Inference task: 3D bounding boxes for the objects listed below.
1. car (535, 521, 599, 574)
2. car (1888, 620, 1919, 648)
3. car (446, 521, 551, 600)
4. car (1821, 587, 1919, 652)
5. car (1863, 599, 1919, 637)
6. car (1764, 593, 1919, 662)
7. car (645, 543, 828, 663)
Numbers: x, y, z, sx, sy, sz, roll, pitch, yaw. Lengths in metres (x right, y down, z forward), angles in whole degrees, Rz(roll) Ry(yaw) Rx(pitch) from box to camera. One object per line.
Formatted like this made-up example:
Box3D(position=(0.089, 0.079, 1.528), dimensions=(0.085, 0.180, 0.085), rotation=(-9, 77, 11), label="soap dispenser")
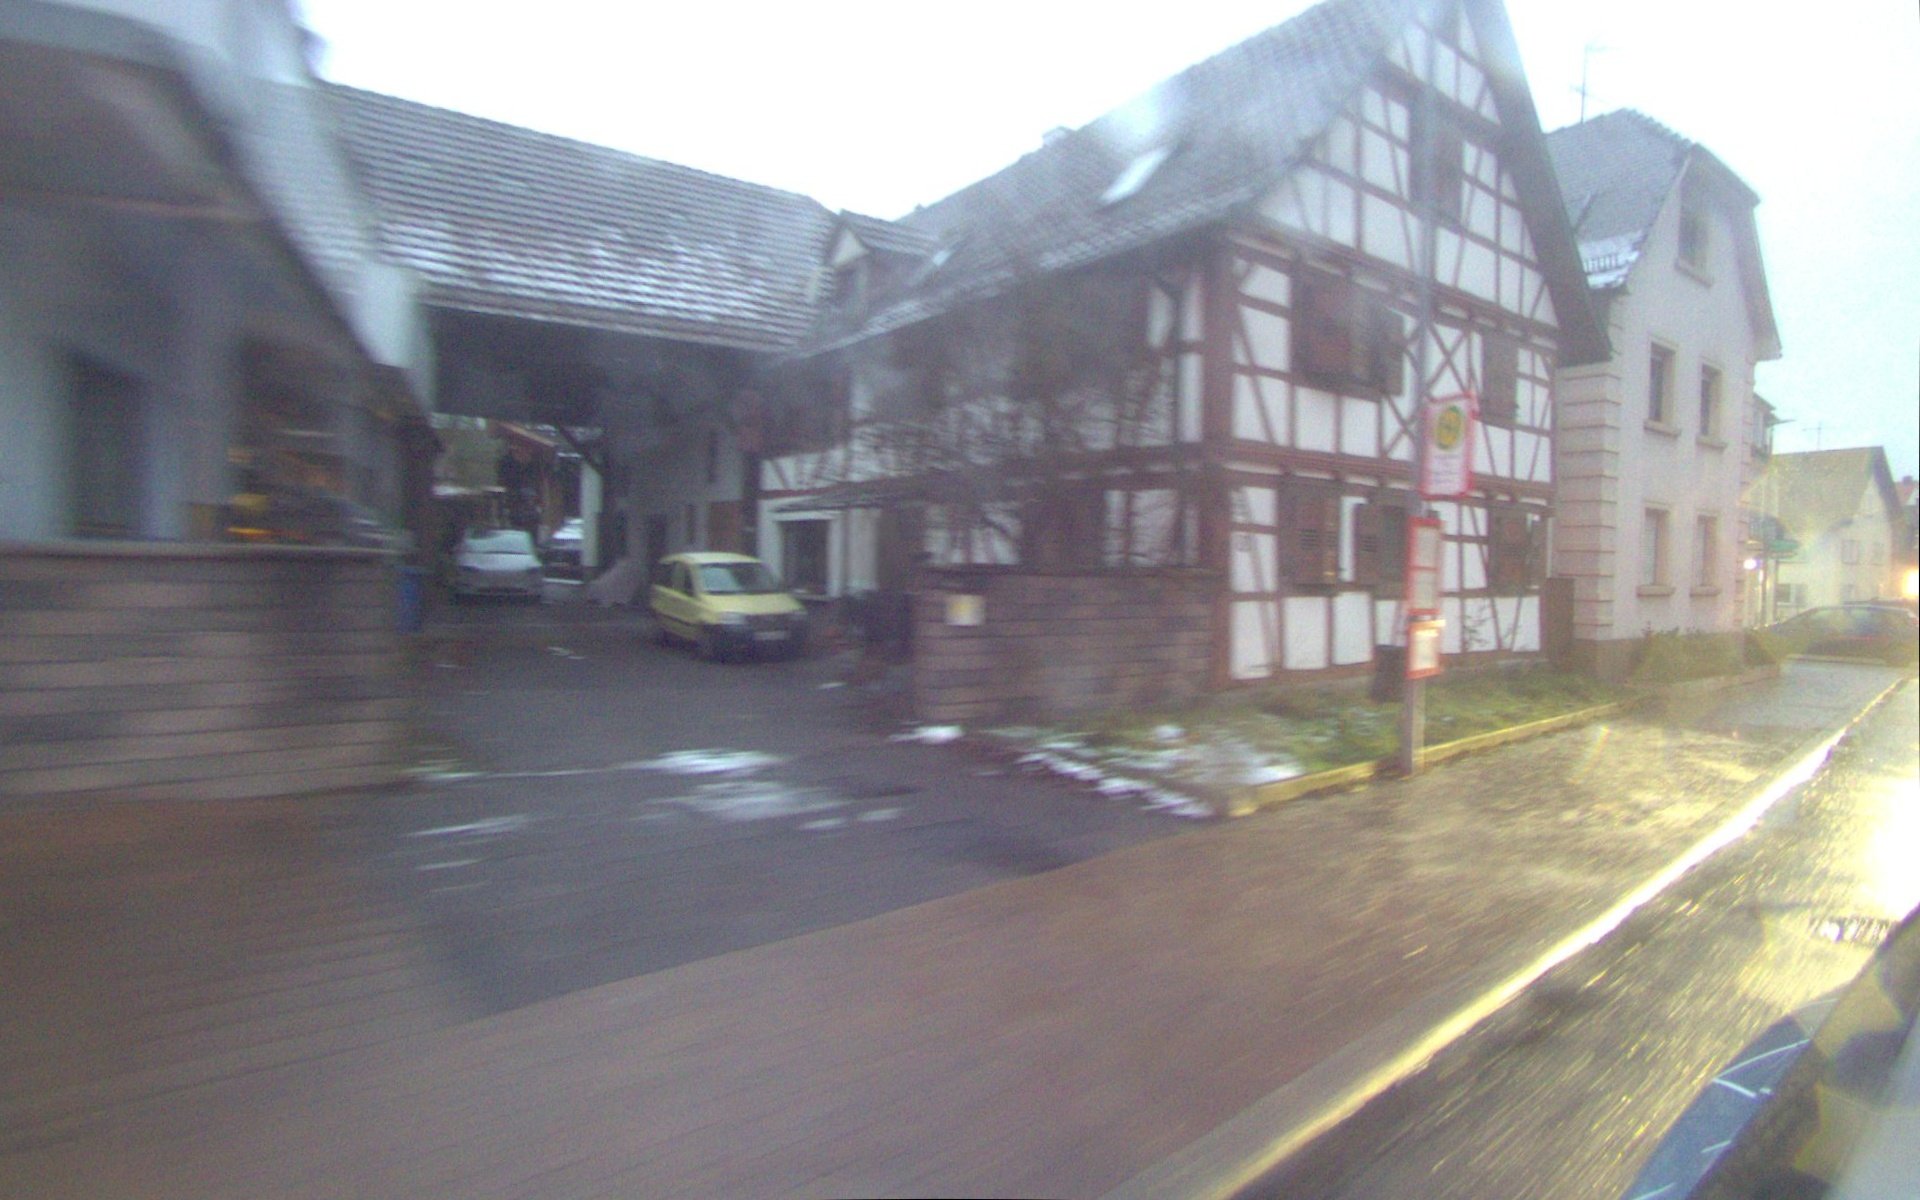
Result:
Box3D(position=(-11.693, -1.545, 30.199), dimensions=(1.668, 1.437, 3.517), rotation=(1, 2, -21), label="car")
Box3D(position=(42.297, 1.524, 43.154), dimensions=(1.524, 1.141, 3.885), rotation=(1, 2, -42), label="car")
Box3D(position=(-11.324, -1.017, 24.627), dimensions=(2.029, 1.622, 4.745), rotation=(0, 5, -28), label="car")
Box3D(position=(29.457, 0.620, 31.554), dimensions=(3.878, 1.900, 1.840), rotation=(3, 2, 43), label="car")
Box3D(position=(38.063, 0.765, 39.594), dimensions=(1.524, 1.384, 3.885), rotation=(1, 2, -42), label="car")
Box3D(position=(25.089, 0.739, 28.358), dimensions=(3.843, 1.647, 1.586), rotation=(4, 2, 44), label="car")
Box3D(position=(-3.606, -0.059, 15.972), dimensions=(1.588, 1.561, 3.429), rotation=(-3, 6, -35), label="car")
